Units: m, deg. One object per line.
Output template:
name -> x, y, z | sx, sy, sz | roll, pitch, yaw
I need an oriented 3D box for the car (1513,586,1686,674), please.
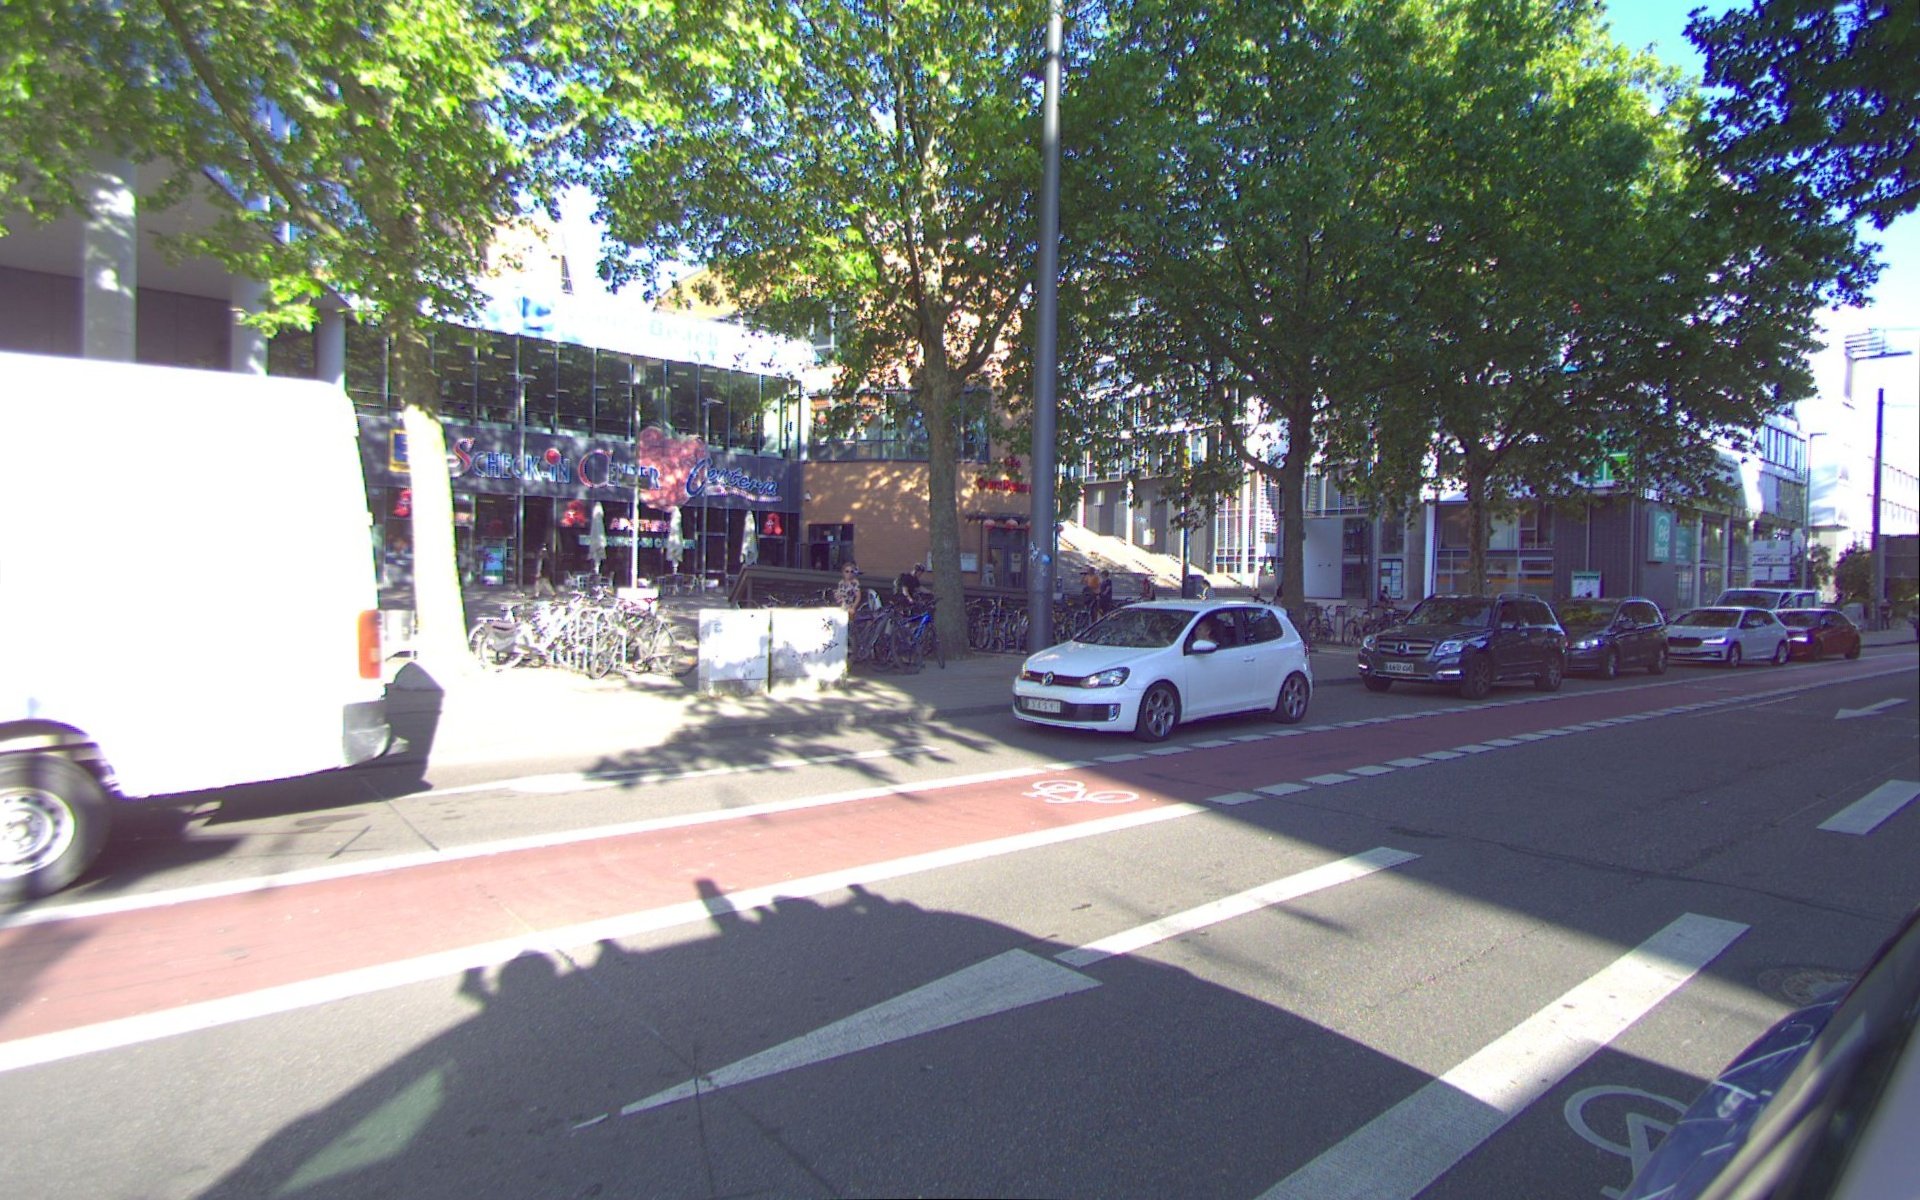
car -> 13.432, 0.556, 21.170 | 4.310, 1.656, 1.710 | 0, 0, -38

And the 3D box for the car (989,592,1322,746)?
car -> 2.330, 0.648, 11.508 | 3.916, 1.446, 1.638 | 0, 0, -40

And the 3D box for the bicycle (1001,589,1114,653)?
bicycle -> 1.930, 0.373, 19.734 | 2.354, 1.177, 0.751 | -1, 0, -39

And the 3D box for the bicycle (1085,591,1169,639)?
bicycle -> 4.503, 0.388, 27.115 | 2.653, 1.215, 0.698 | -1, 1, -41

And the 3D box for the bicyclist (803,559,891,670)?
bicyclist -> -1.743, 0.203, 15.584 | 1.005, 1.641, 0.902 | 0, 0, -41

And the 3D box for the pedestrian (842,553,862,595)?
pedestrian -> -4.681, -1.129, 43.936 | 0.637, 1.765, 0.663 | 2, 1, 16

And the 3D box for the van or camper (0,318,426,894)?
van or camper -> -6.124, 0.004, 4.459 | 6.385, 2.647, 2.003 | 0, 1, -41

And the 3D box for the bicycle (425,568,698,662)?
bicycle -> -5.967, 0.266, 15.423 | 3.743, 1.236, 0.729 | 4, -2, -35

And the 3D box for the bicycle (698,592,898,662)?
bicycle -> -2.749, 0.418, 17.554 | 3.352, 1.013, 1.051 | -1, 6, -41

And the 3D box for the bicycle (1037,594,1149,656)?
bicycle -> 2.516, 0.434, 18.947 | 2.295, 1.073, 0.682 | -1, 1, -39

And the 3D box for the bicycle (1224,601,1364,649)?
bicycle -> 7.770, 0.562, 23.549 | 3.136, 1.038, 0.979 | 0, 0, -18

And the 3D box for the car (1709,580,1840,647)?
car -> 26.494, 0.392, 32.850 | 5.808, 1.989, 1.934 | 0, 0, -37

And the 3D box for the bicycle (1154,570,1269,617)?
bicycle -> 6.577, -0.209, 26.774 | 1.124, 1.097, 3.342 | 0, 2, -23

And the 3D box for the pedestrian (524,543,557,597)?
pedestrian -> -14.139, -1.006, 34.110 | 0.823, 1.765, 0.645 | 0, 1, -41

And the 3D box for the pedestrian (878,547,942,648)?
pedestrian -> -1.030, -0.070, 21.122 | 0.922, 2.039, 1.085 | 2, 1, 24

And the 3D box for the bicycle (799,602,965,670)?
bicycle -> -1.202, 0.531, 16.052 | 2.591, 0.960, 0.924 | -1, 0, -41

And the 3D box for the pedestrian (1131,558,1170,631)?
pedestrian -> 6.040, -0.184, 32.111 | 0.884, 2.261, 0.845 | 0, 0, -19

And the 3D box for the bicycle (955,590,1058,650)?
bicycle -> 0.985, 0.381, 20.947 | 2.251, 1.177, 0.657 | -1, 0, -38

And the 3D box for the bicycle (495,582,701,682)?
bicycle -> -4.878, 0.388, 13.755 | 2.504, 1.236, 0.758 | -2, 1, -35

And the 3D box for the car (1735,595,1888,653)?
car -> 23.716, 0.642, 28.172 | 4.110, 1.508, 1.839 | 0, -1, -28

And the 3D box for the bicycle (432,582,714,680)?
bicycle -> -5.516, 0.388, 14.695 | 3.744, 1.236, 0.758 | -2, 1, -35

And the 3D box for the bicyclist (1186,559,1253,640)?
bicyclist -> 6.749, -0.029, 26.369 | 1.132, 2.039, 1.301 | 0, 1, -24

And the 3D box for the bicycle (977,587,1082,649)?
bicycle -> 1.423, 0.340, 20.399 | 2.263, 1.177, 0.671 | -1, 0, -38

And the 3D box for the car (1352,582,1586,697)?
car -> 8.377, 0.557, 16.525 | 4.171, 1.656, 1.769 | 0, 0, -37

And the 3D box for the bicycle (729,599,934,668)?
bicycle -> -2.045, 0.500, 16.693 | 3.352, 1.014, 1.050 | -1, 0, -41

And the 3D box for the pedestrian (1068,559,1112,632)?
pedestrian -> 4.114, -0.148, 32.111 | 1.195, 2.276, 1.052 | 0, 0, -3

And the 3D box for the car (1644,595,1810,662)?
car -> 18.950, 0.645, 24.982 | 4.111, 1.508, 1.839 | 0, 0, -30

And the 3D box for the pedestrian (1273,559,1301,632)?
pedestrian -> 12.237, -0.173, 37.946 | 0.967, 2.681, 0.897 | 0, 0, 18
